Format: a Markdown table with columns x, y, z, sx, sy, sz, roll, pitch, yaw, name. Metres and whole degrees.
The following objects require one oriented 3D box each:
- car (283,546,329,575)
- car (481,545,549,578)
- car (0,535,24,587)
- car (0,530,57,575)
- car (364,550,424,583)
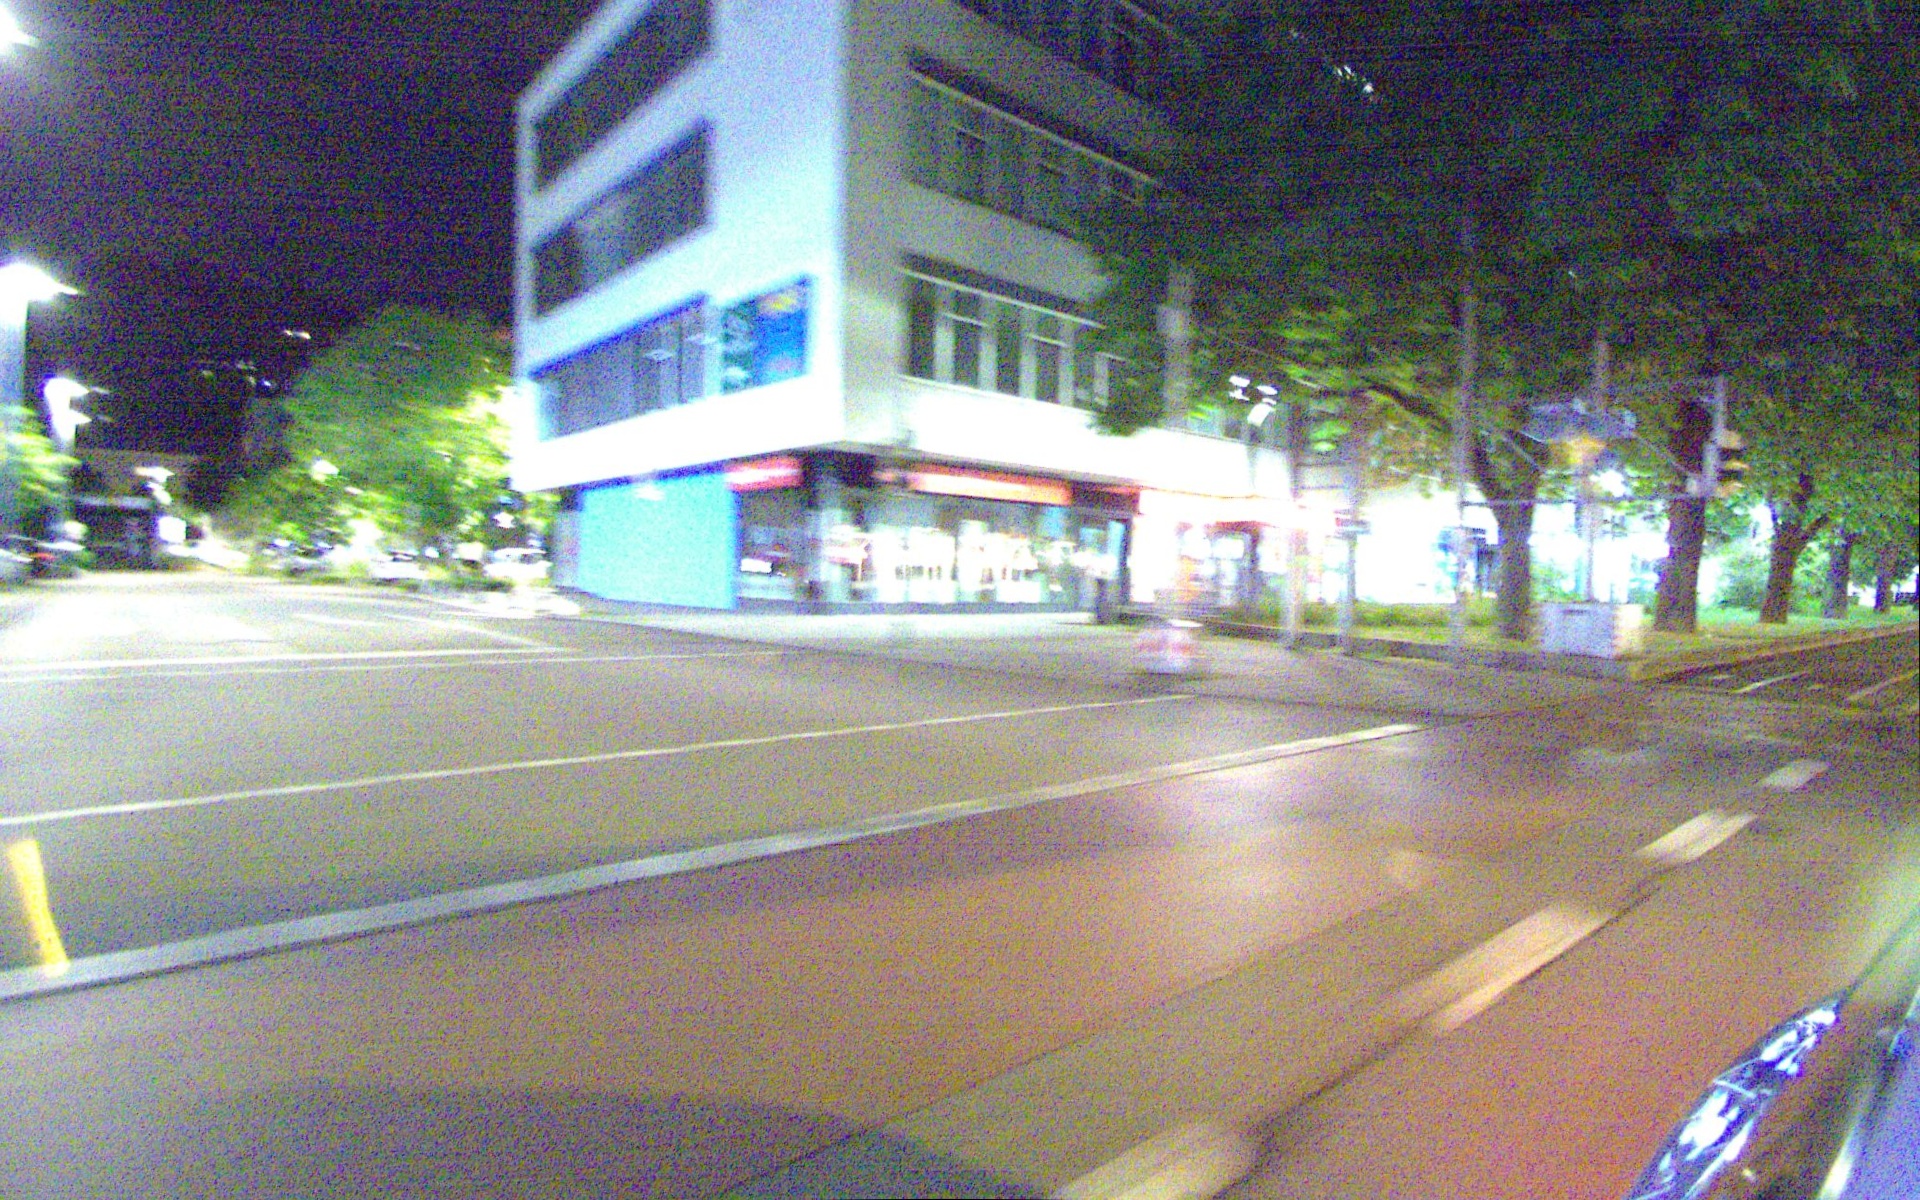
| x | y | z | sx | sy | sz | roll | pitch | yaw | name |
| --- | --- | --- | --- | --- | --- | --- | --- | --- | --- |
| -36.619 | -2.206 | 56.736 | 1.960 | 1.526 | 4.005 | 0 | 2 | -30 | car |
| -23.733 | -2.040 | 53.937 | 4.156 | 1.680 | 1.887 | 3 | 3 | 44 | car |
| -29.668 | -1.141 | 28.541 | 4.771 | 1.490 | 1.996 | -1 | 2 | -43 | car |
| -33.908 | -1.629 | 35.000 | 3.930 | 1.505 | 1.997 | -1 | 0 | -41 | car |
| -25.926 | -1.547 | 46.292 | 1.882 | 1.401 | 3.999 | -1 | 2 | -37 | car |
